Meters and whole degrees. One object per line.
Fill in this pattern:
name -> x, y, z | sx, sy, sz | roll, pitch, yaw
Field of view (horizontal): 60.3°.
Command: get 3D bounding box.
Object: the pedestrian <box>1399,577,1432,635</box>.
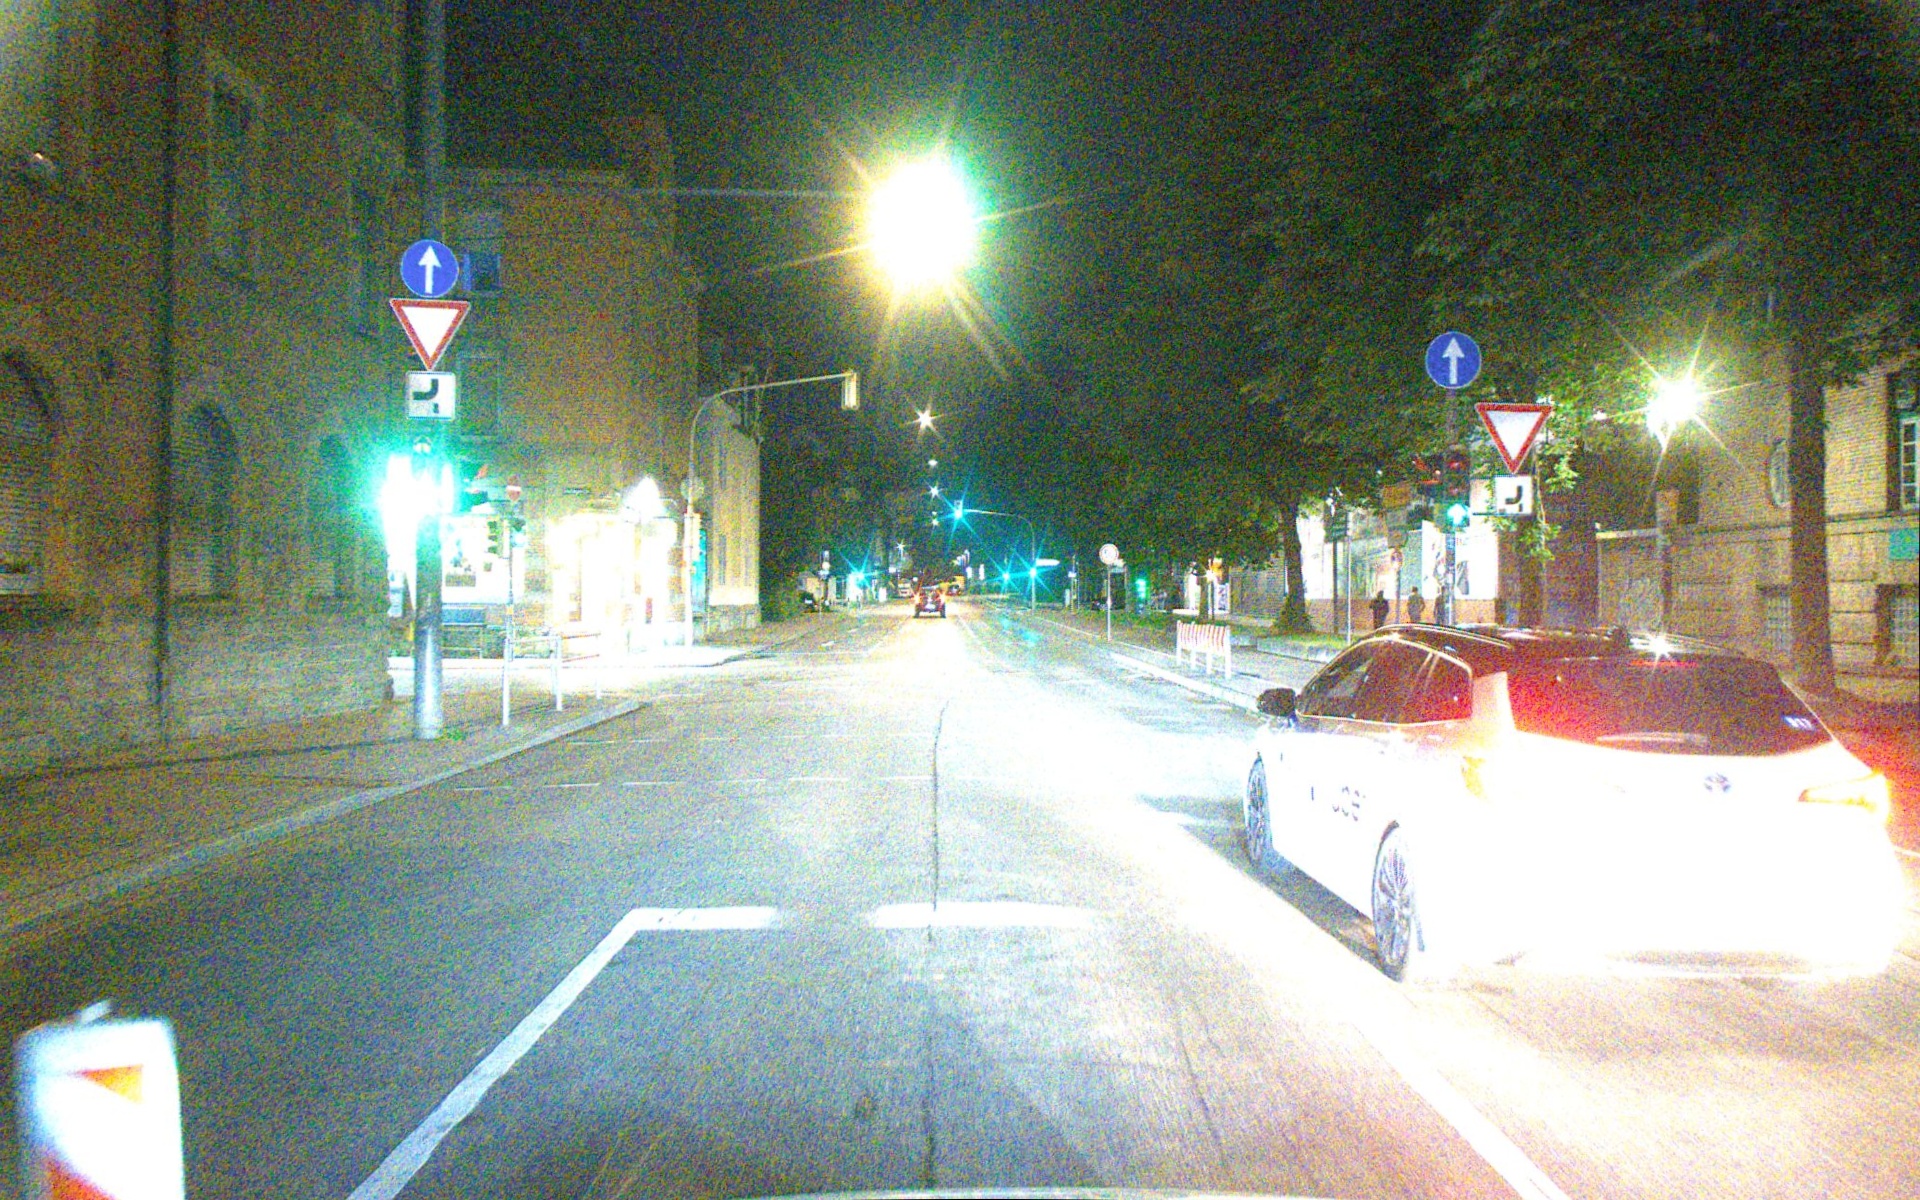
pedestrian -> 14.256, 0.176, 51.774 | 0.724, 1.800, 0.907 | -1, 0, -1

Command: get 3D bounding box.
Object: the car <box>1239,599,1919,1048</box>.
car -> 2.583, 0.758, 7.680 | 1.694, 1.460, 4.209 | 2, 0, -2

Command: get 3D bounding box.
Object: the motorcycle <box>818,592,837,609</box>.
motorcycle -> -9.687, 0.021, 121.106 | 0.769, 1.225, 2.436 | -1, 1, -19

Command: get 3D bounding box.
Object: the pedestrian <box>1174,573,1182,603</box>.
pedestrian -> 14.666, -0.817, 111.245 | 0.478, 2.049, 0.550 | -1, 0, -2

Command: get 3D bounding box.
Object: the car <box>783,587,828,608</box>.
car -> -11.595, -0.203, 124.328 | 1.786, 1.512, 3.955 | -1, 1, -32

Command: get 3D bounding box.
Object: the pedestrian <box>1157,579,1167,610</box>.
pedestrian -> 13.508, -0.384, 110.625 | 0.521, 2.049, 0.670 | -1, 0, -2

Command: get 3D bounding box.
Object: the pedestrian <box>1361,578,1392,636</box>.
pedestrian -> 13.055, 0.218, 51.895 | 0.699, 1.800, 0.907 | -1, 0, -1

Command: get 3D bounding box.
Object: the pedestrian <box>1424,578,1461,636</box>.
pedestrian -> 15.237, 0.209, 52.245 | 0.882, 1.800, 0.907 | -1, 0, -1

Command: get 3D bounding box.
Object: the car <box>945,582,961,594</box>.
car -> -0.943, -1.604, 230.054 | 1.954, 1.624, 3.997 | 0, 0, -3

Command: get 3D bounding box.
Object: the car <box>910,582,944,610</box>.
car -> -2.058, -0.260, 102.165 | 1.953, 1.668, 3.998 | 0, 0, -3

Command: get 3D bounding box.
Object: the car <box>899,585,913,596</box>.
car -> -7.043, -1.211, 215.054 | 1.742, 1.414, 3.998 | -1, 1, -3
